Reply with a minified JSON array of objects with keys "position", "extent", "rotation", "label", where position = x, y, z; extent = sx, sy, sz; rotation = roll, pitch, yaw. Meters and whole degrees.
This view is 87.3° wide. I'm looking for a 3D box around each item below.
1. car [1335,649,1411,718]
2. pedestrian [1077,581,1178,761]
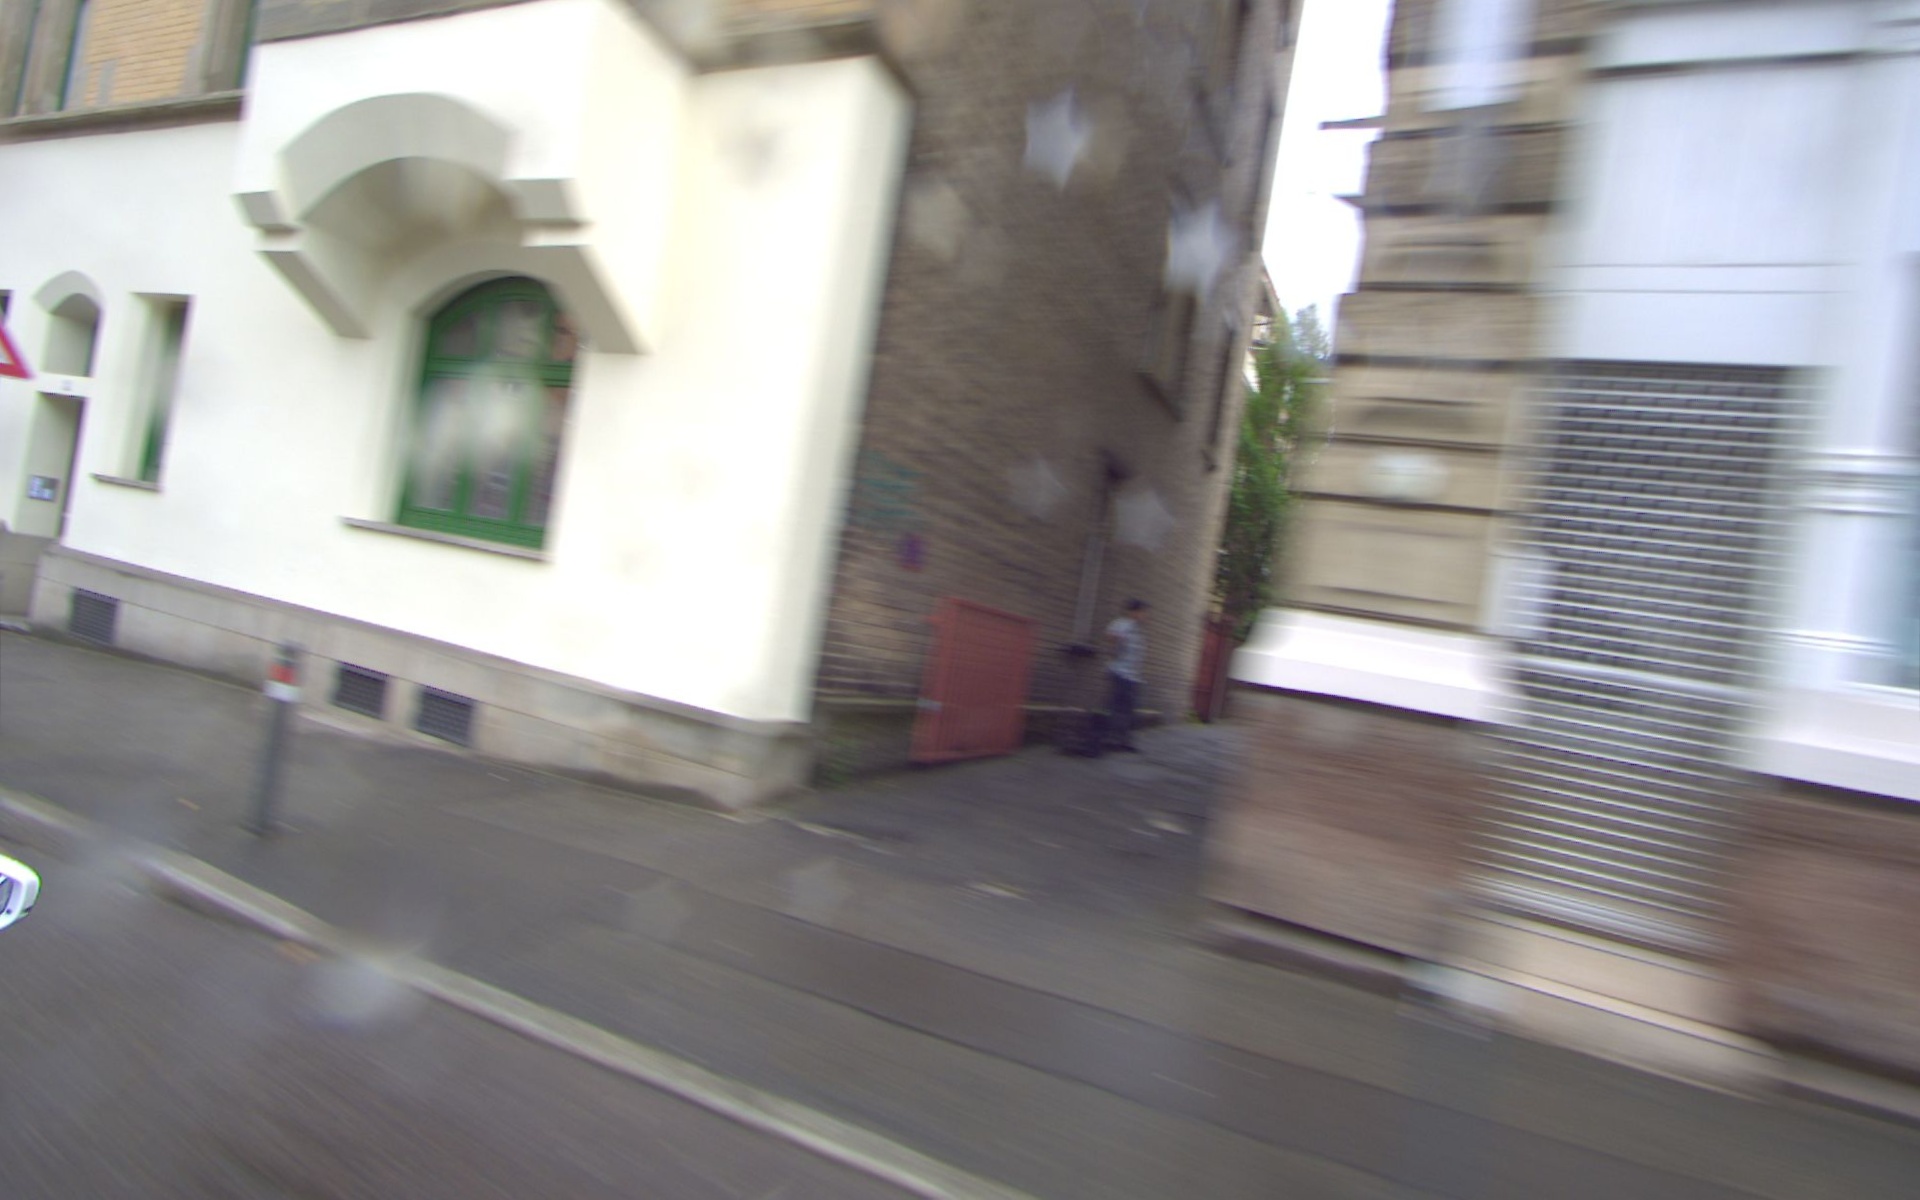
[{"position":[11.489,2.355,27.996],"extent":[1.668,1.569,3.749],"rotation":[7,-3,23],"label":"car"},{"position":[1.907,0.791,11.387],"extent":[0.706,1.889,0.897],"rotation":[7,1,25],"label":"pedestrian"}]
